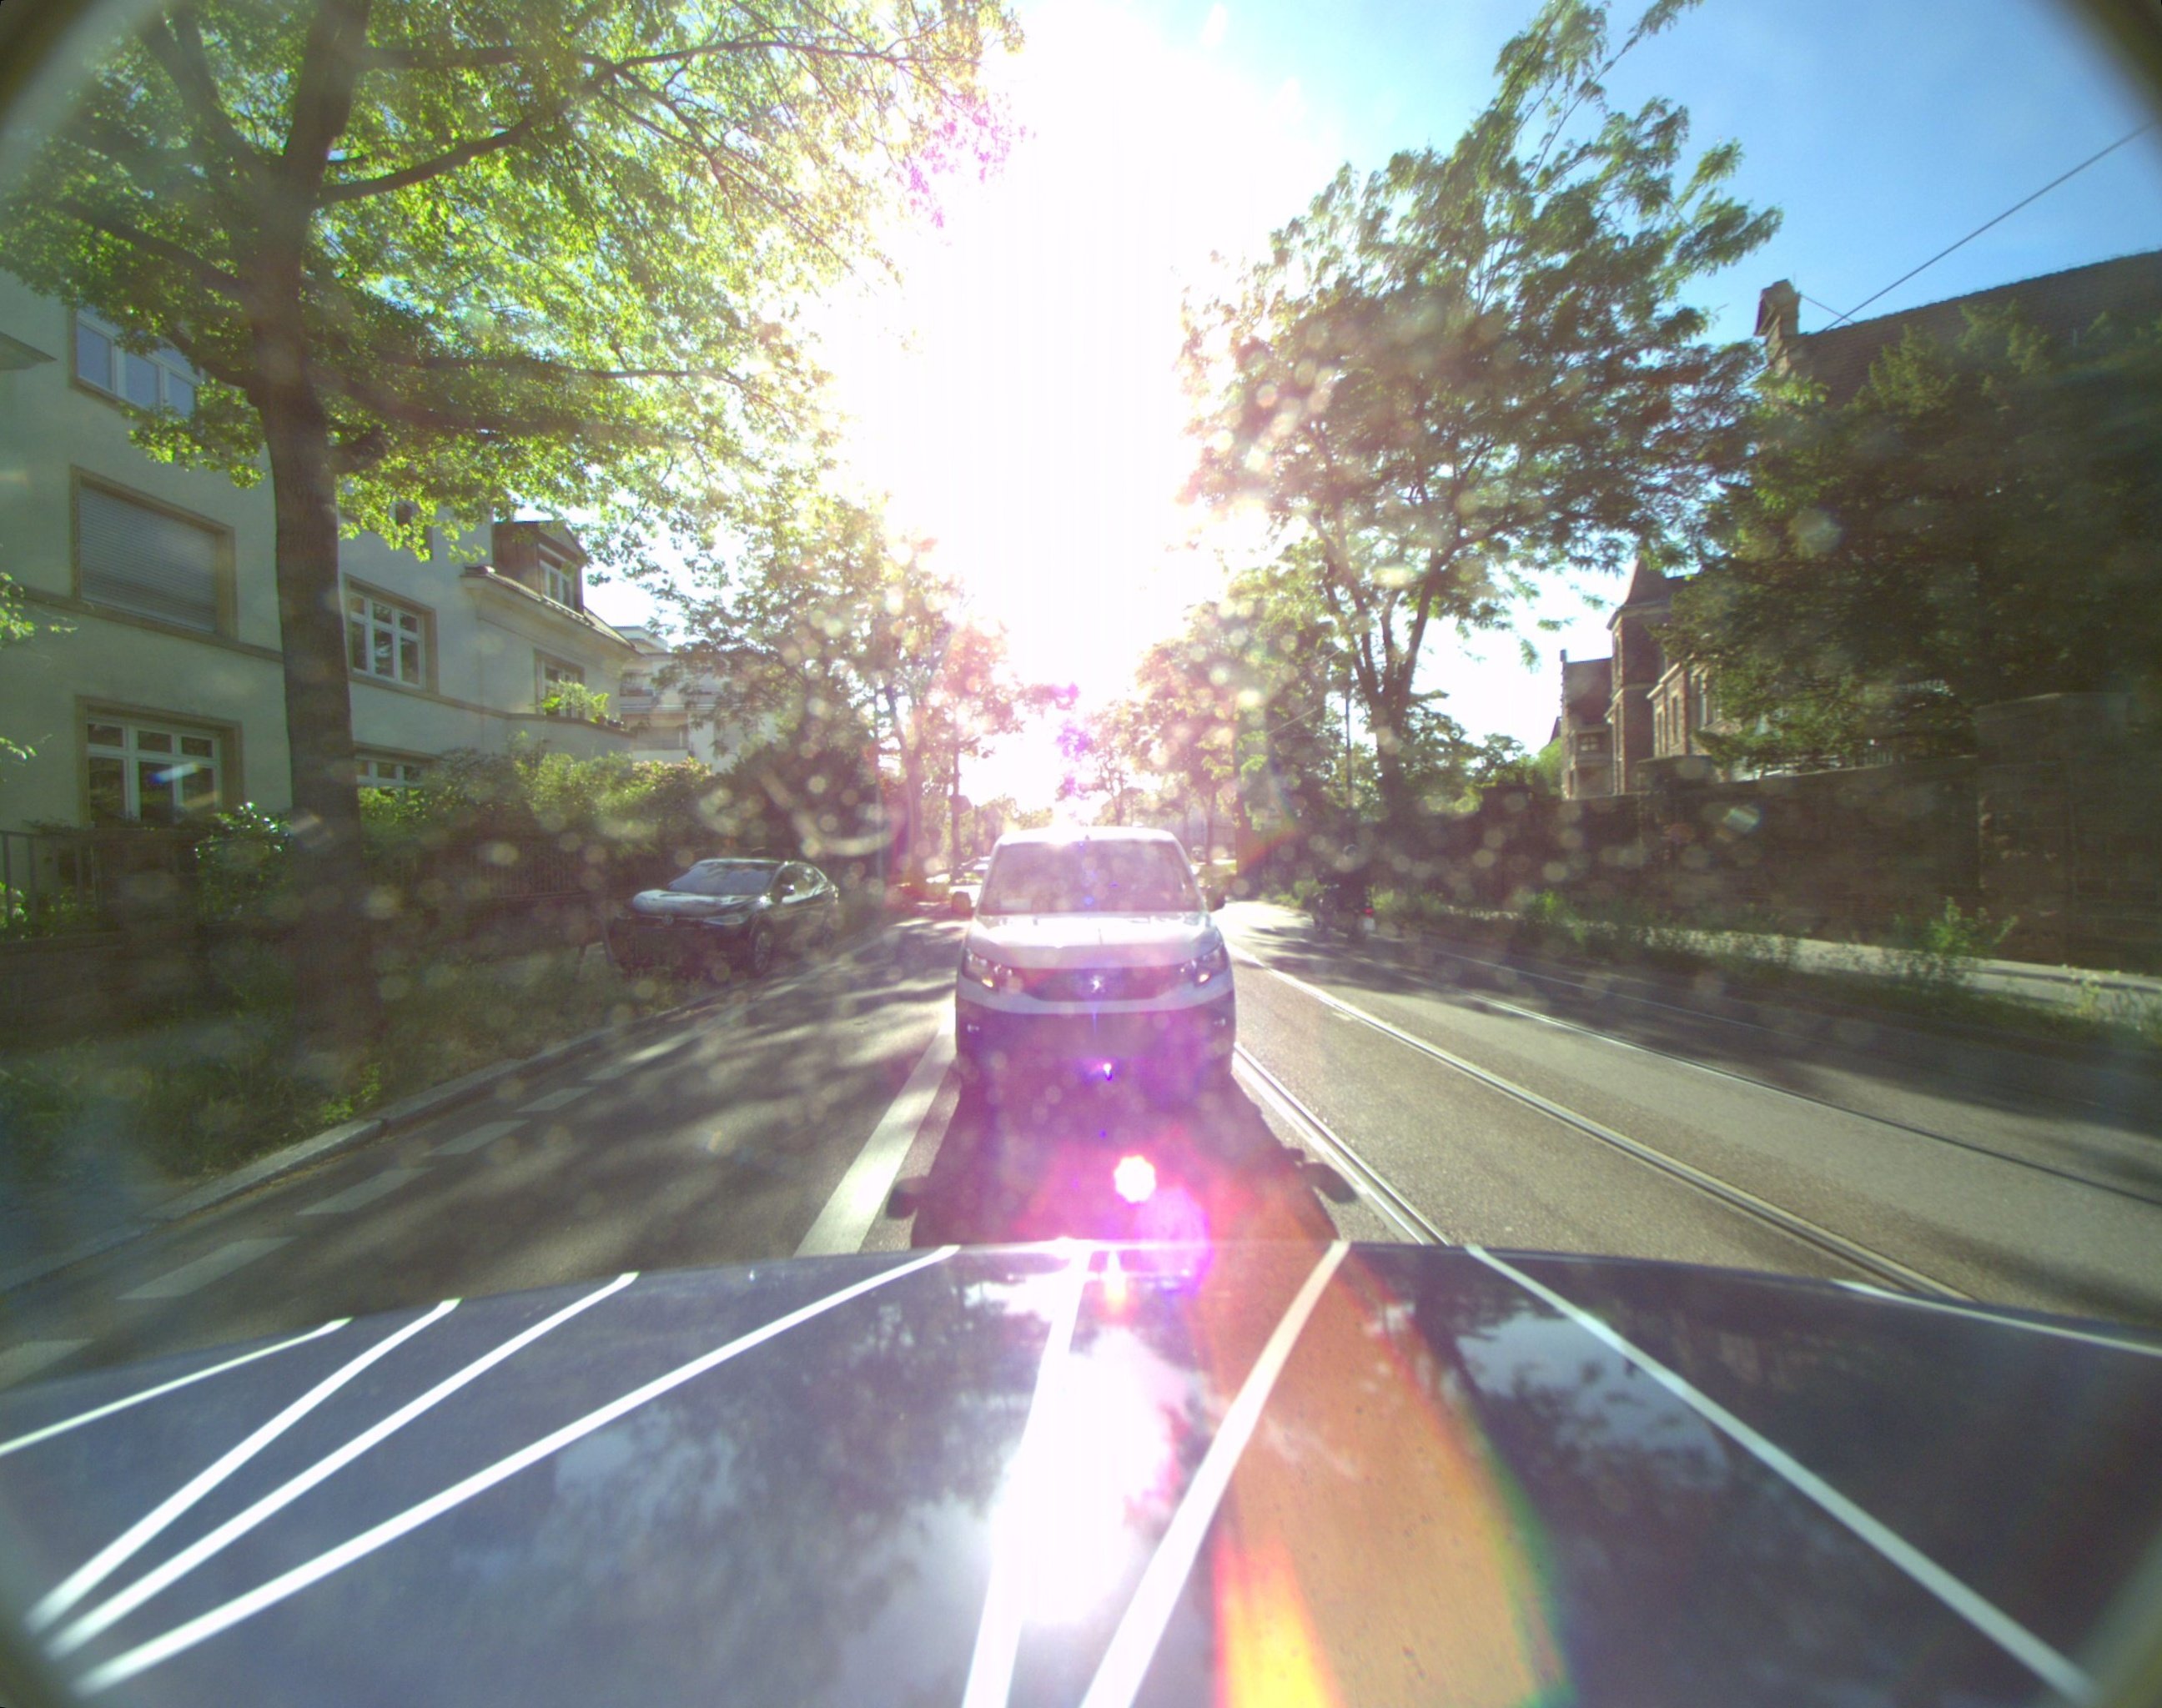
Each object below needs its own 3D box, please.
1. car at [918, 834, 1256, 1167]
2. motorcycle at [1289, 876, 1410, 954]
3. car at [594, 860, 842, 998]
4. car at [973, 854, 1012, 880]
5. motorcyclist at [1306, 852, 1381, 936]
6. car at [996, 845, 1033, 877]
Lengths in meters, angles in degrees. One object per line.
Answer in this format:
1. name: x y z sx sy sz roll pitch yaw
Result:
1. car: 0.050 0.790 6.526 1.793 1.770 4.786 -2 0 0
2. motorcycle: 4.579 0.994 13.198 0.914 1.146 2.427 -2 0 -9
3. car: -5.148 0.951 11.466 1.743 1.597 4.091 2 0 0
4. car: -5.248 0.762 45.454 1.787 1.443 4.000 -2 0 1
5. motorcyclist: 4.561 0.674 13.239 0.892 1.375 0.907 -2 1 -9
6. car: -4.496 0.441 51.920 1.998 2.002 4.583 -2 0 1
